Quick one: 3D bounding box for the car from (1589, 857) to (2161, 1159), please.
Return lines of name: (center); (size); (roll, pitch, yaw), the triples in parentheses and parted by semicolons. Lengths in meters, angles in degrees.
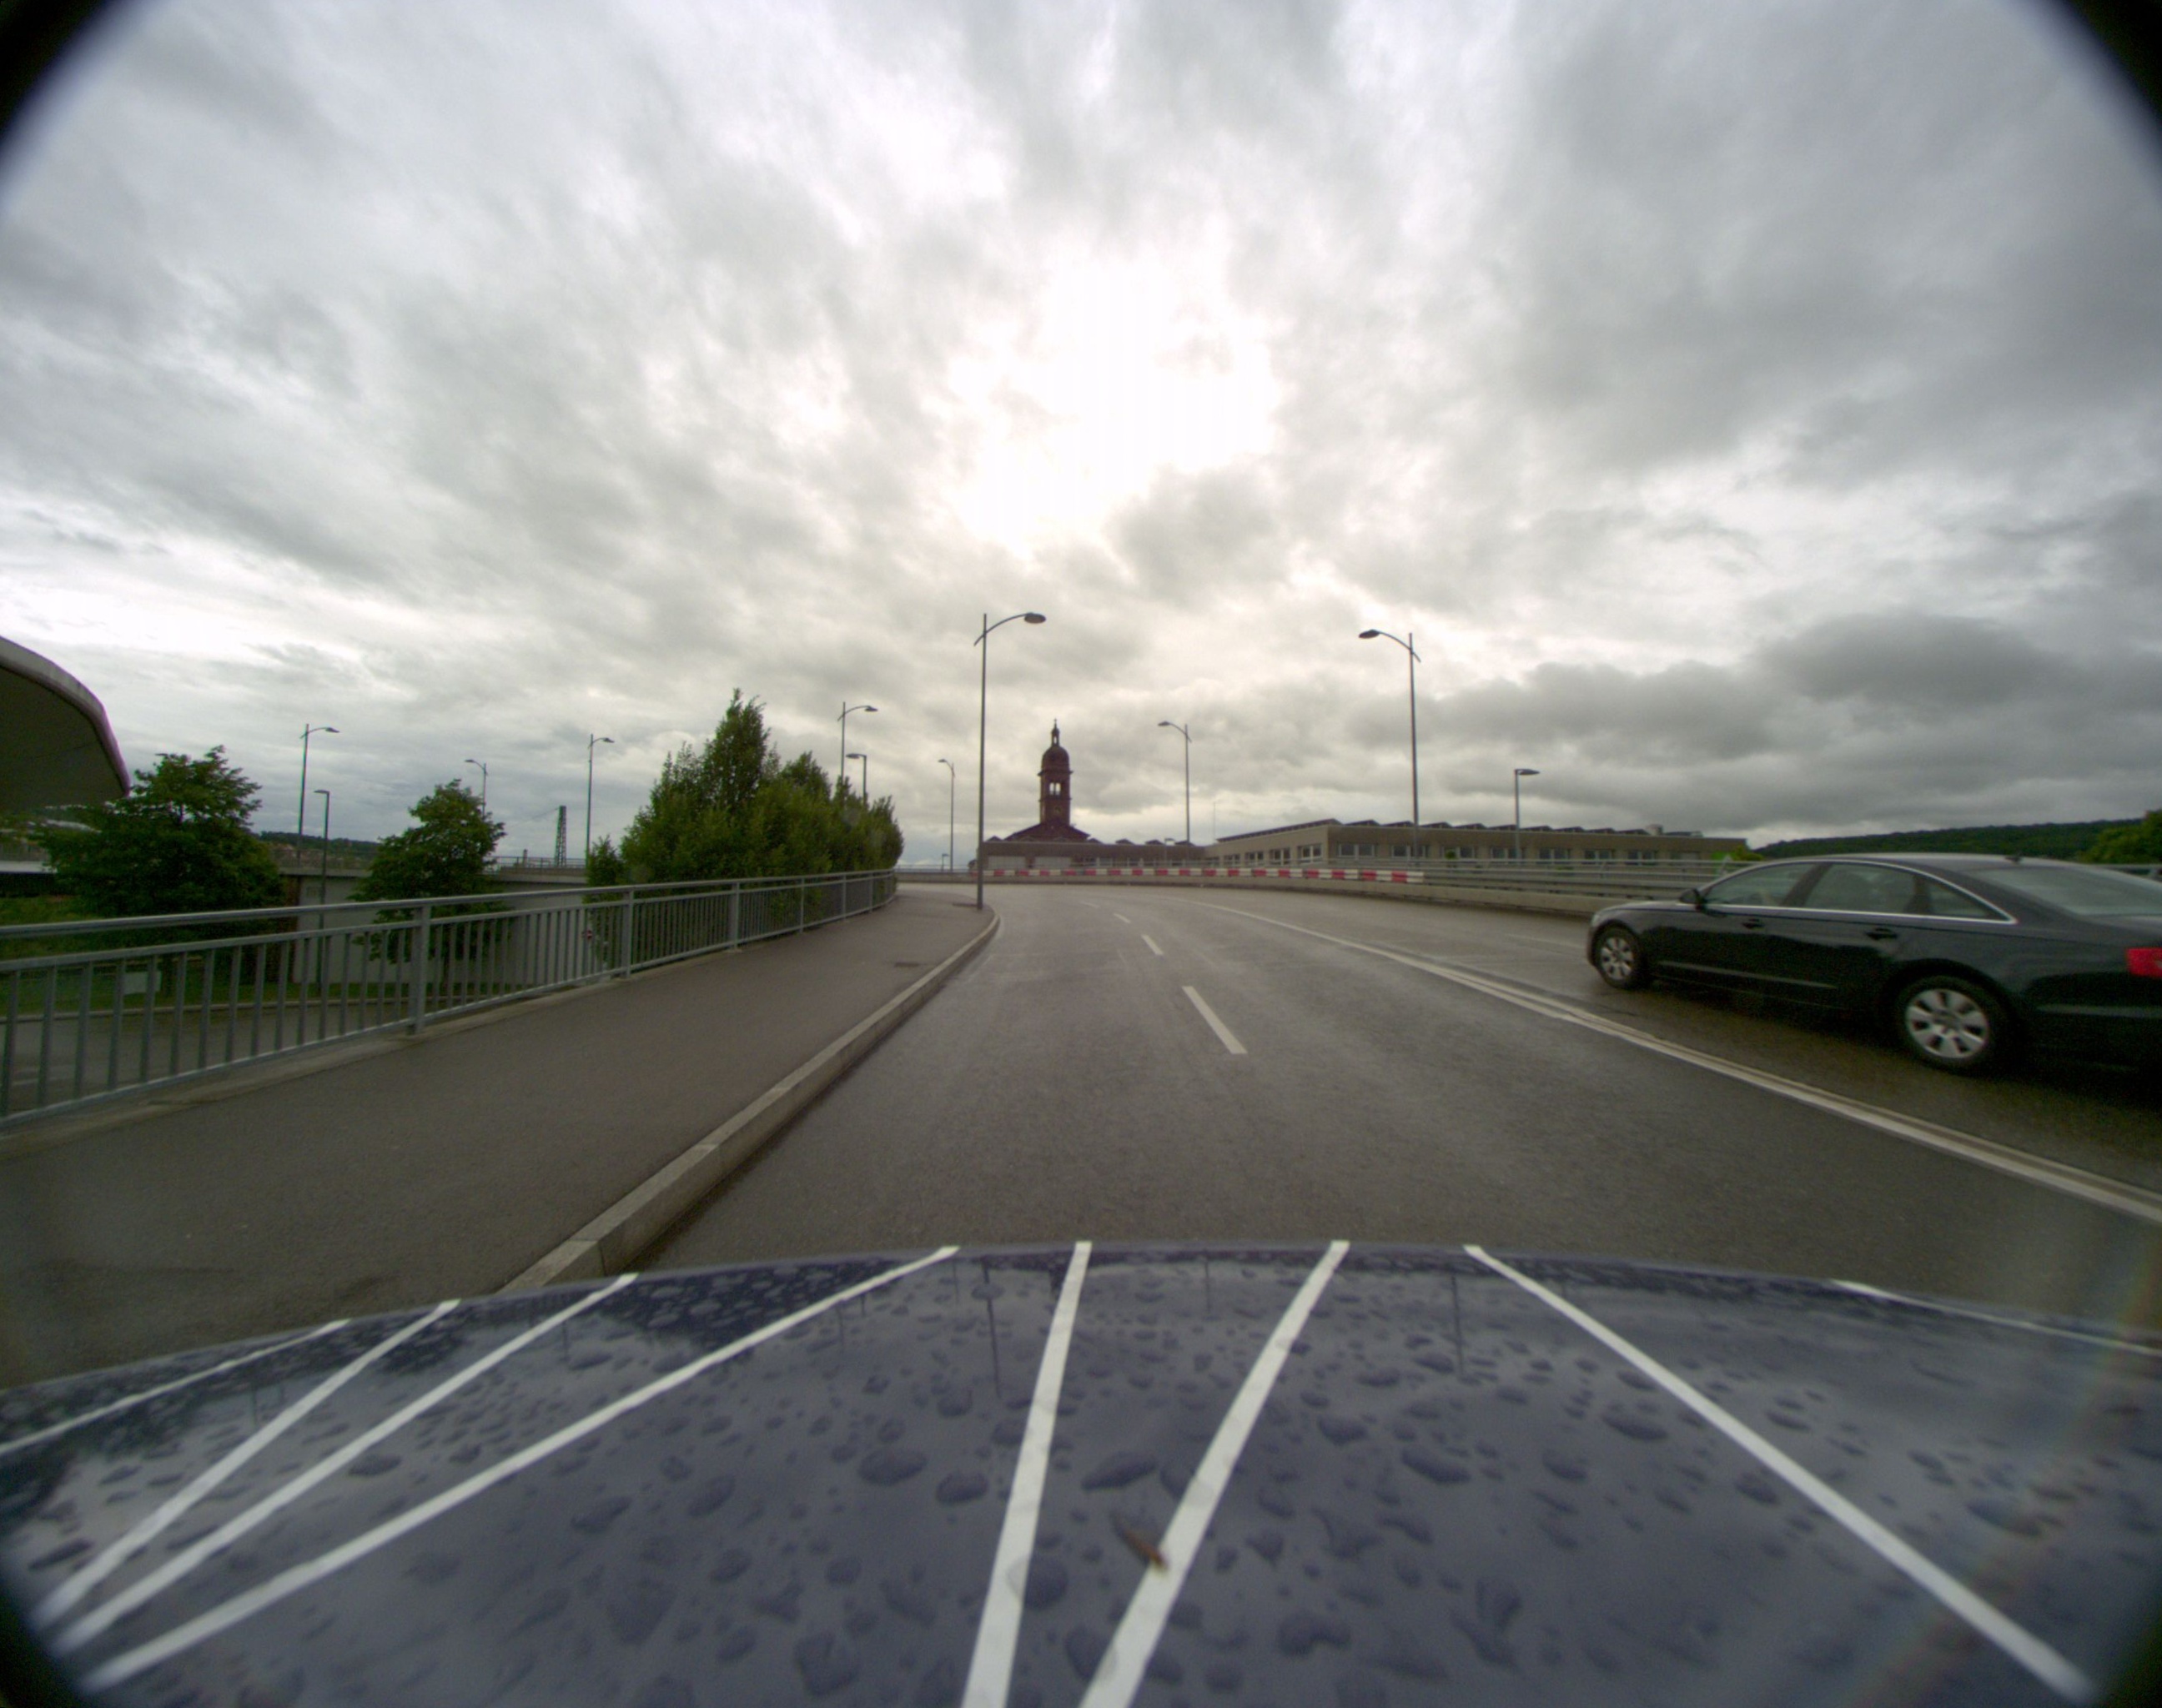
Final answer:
car: (6.371, 0.809, 5.993); (1.672, 1.482, 4.457); (0, 1, -1)
